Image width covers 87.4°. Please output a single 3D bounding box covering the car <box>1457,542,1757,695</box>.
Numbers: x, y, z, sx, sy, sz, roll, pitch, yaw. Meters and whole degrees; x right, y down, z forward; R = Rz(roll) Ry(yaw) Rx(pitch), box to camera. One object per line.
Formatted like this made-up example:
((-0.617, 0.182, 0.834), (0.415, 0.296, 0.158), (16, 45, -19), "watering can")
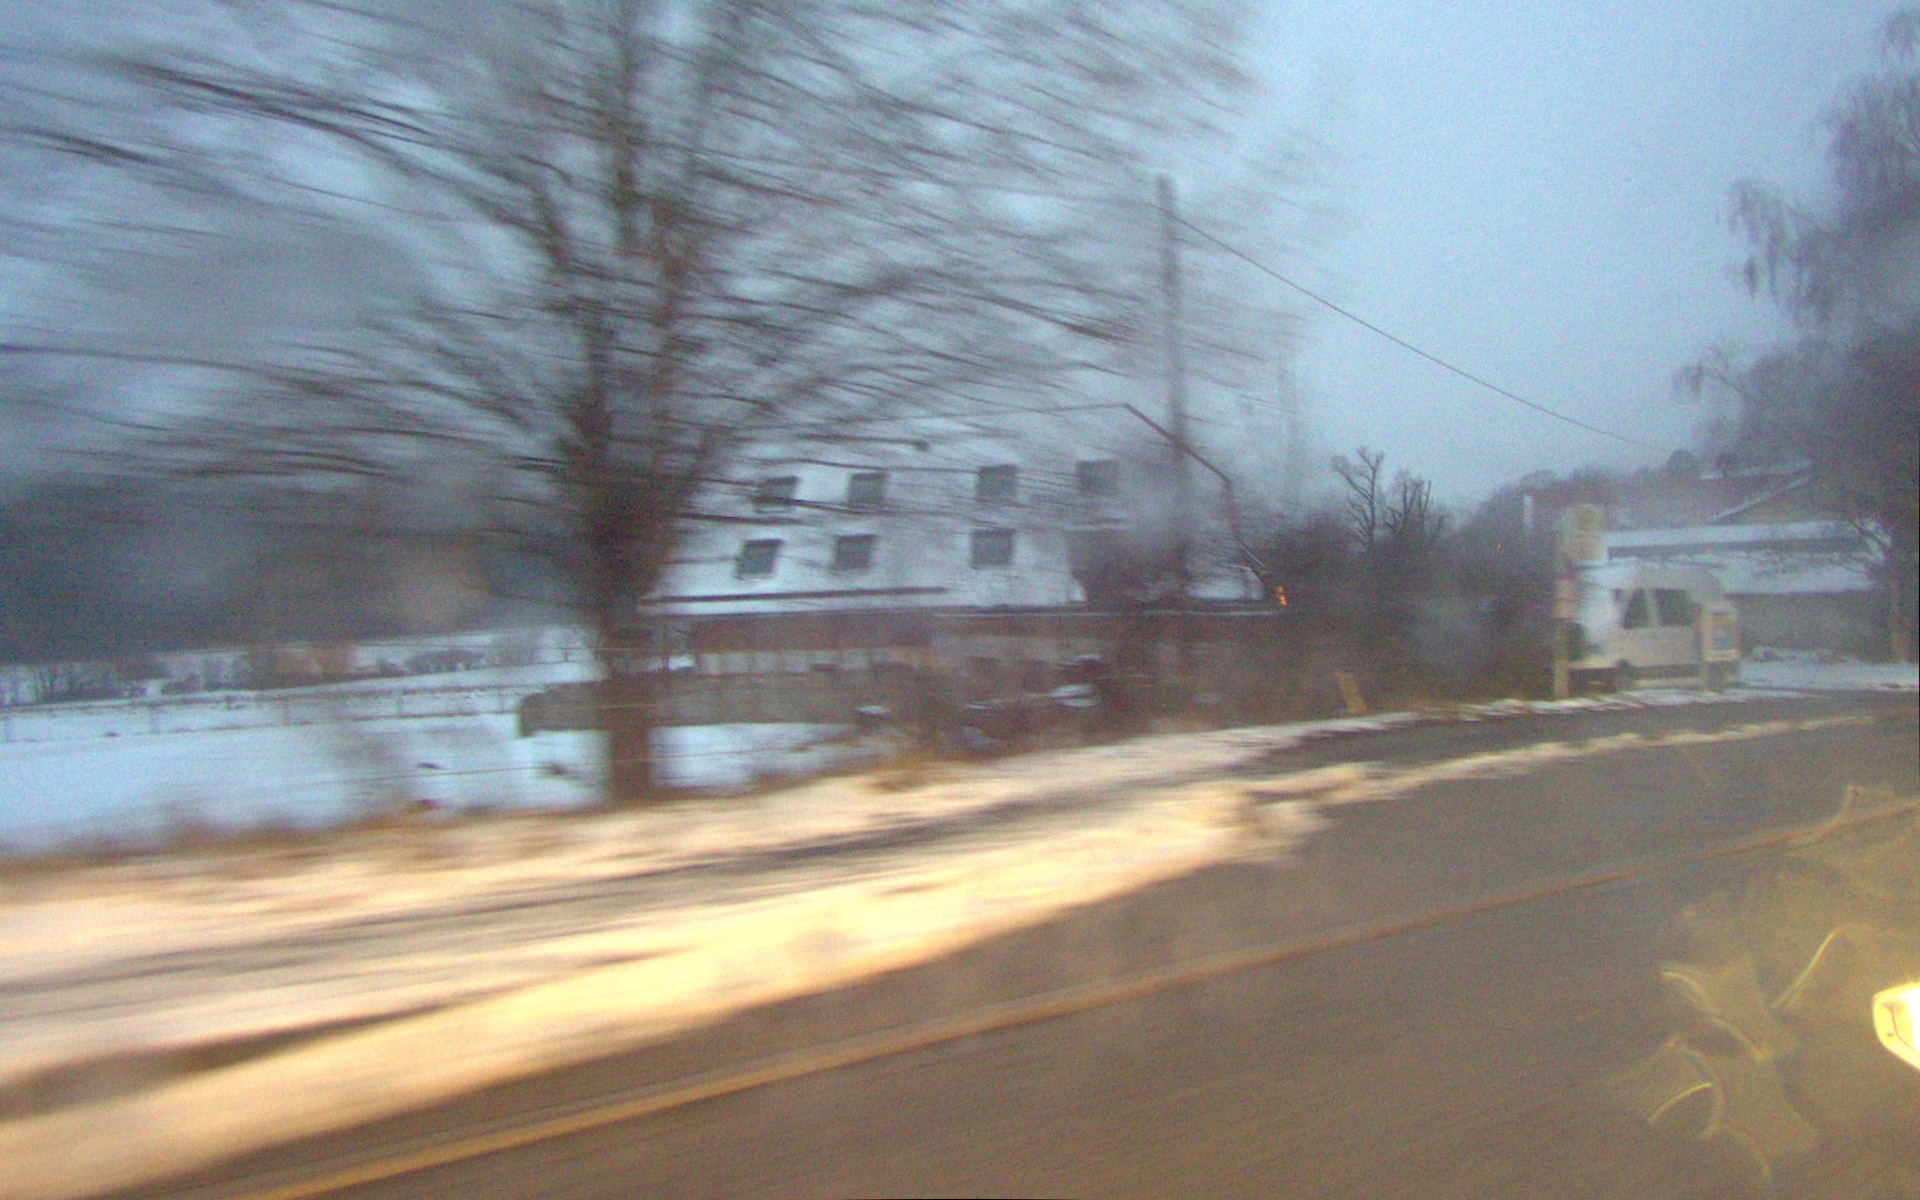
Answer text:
((12.759, 0.345, 19.690), (6.156, 2.605, 2.457), (1, 0, -31), "car")
